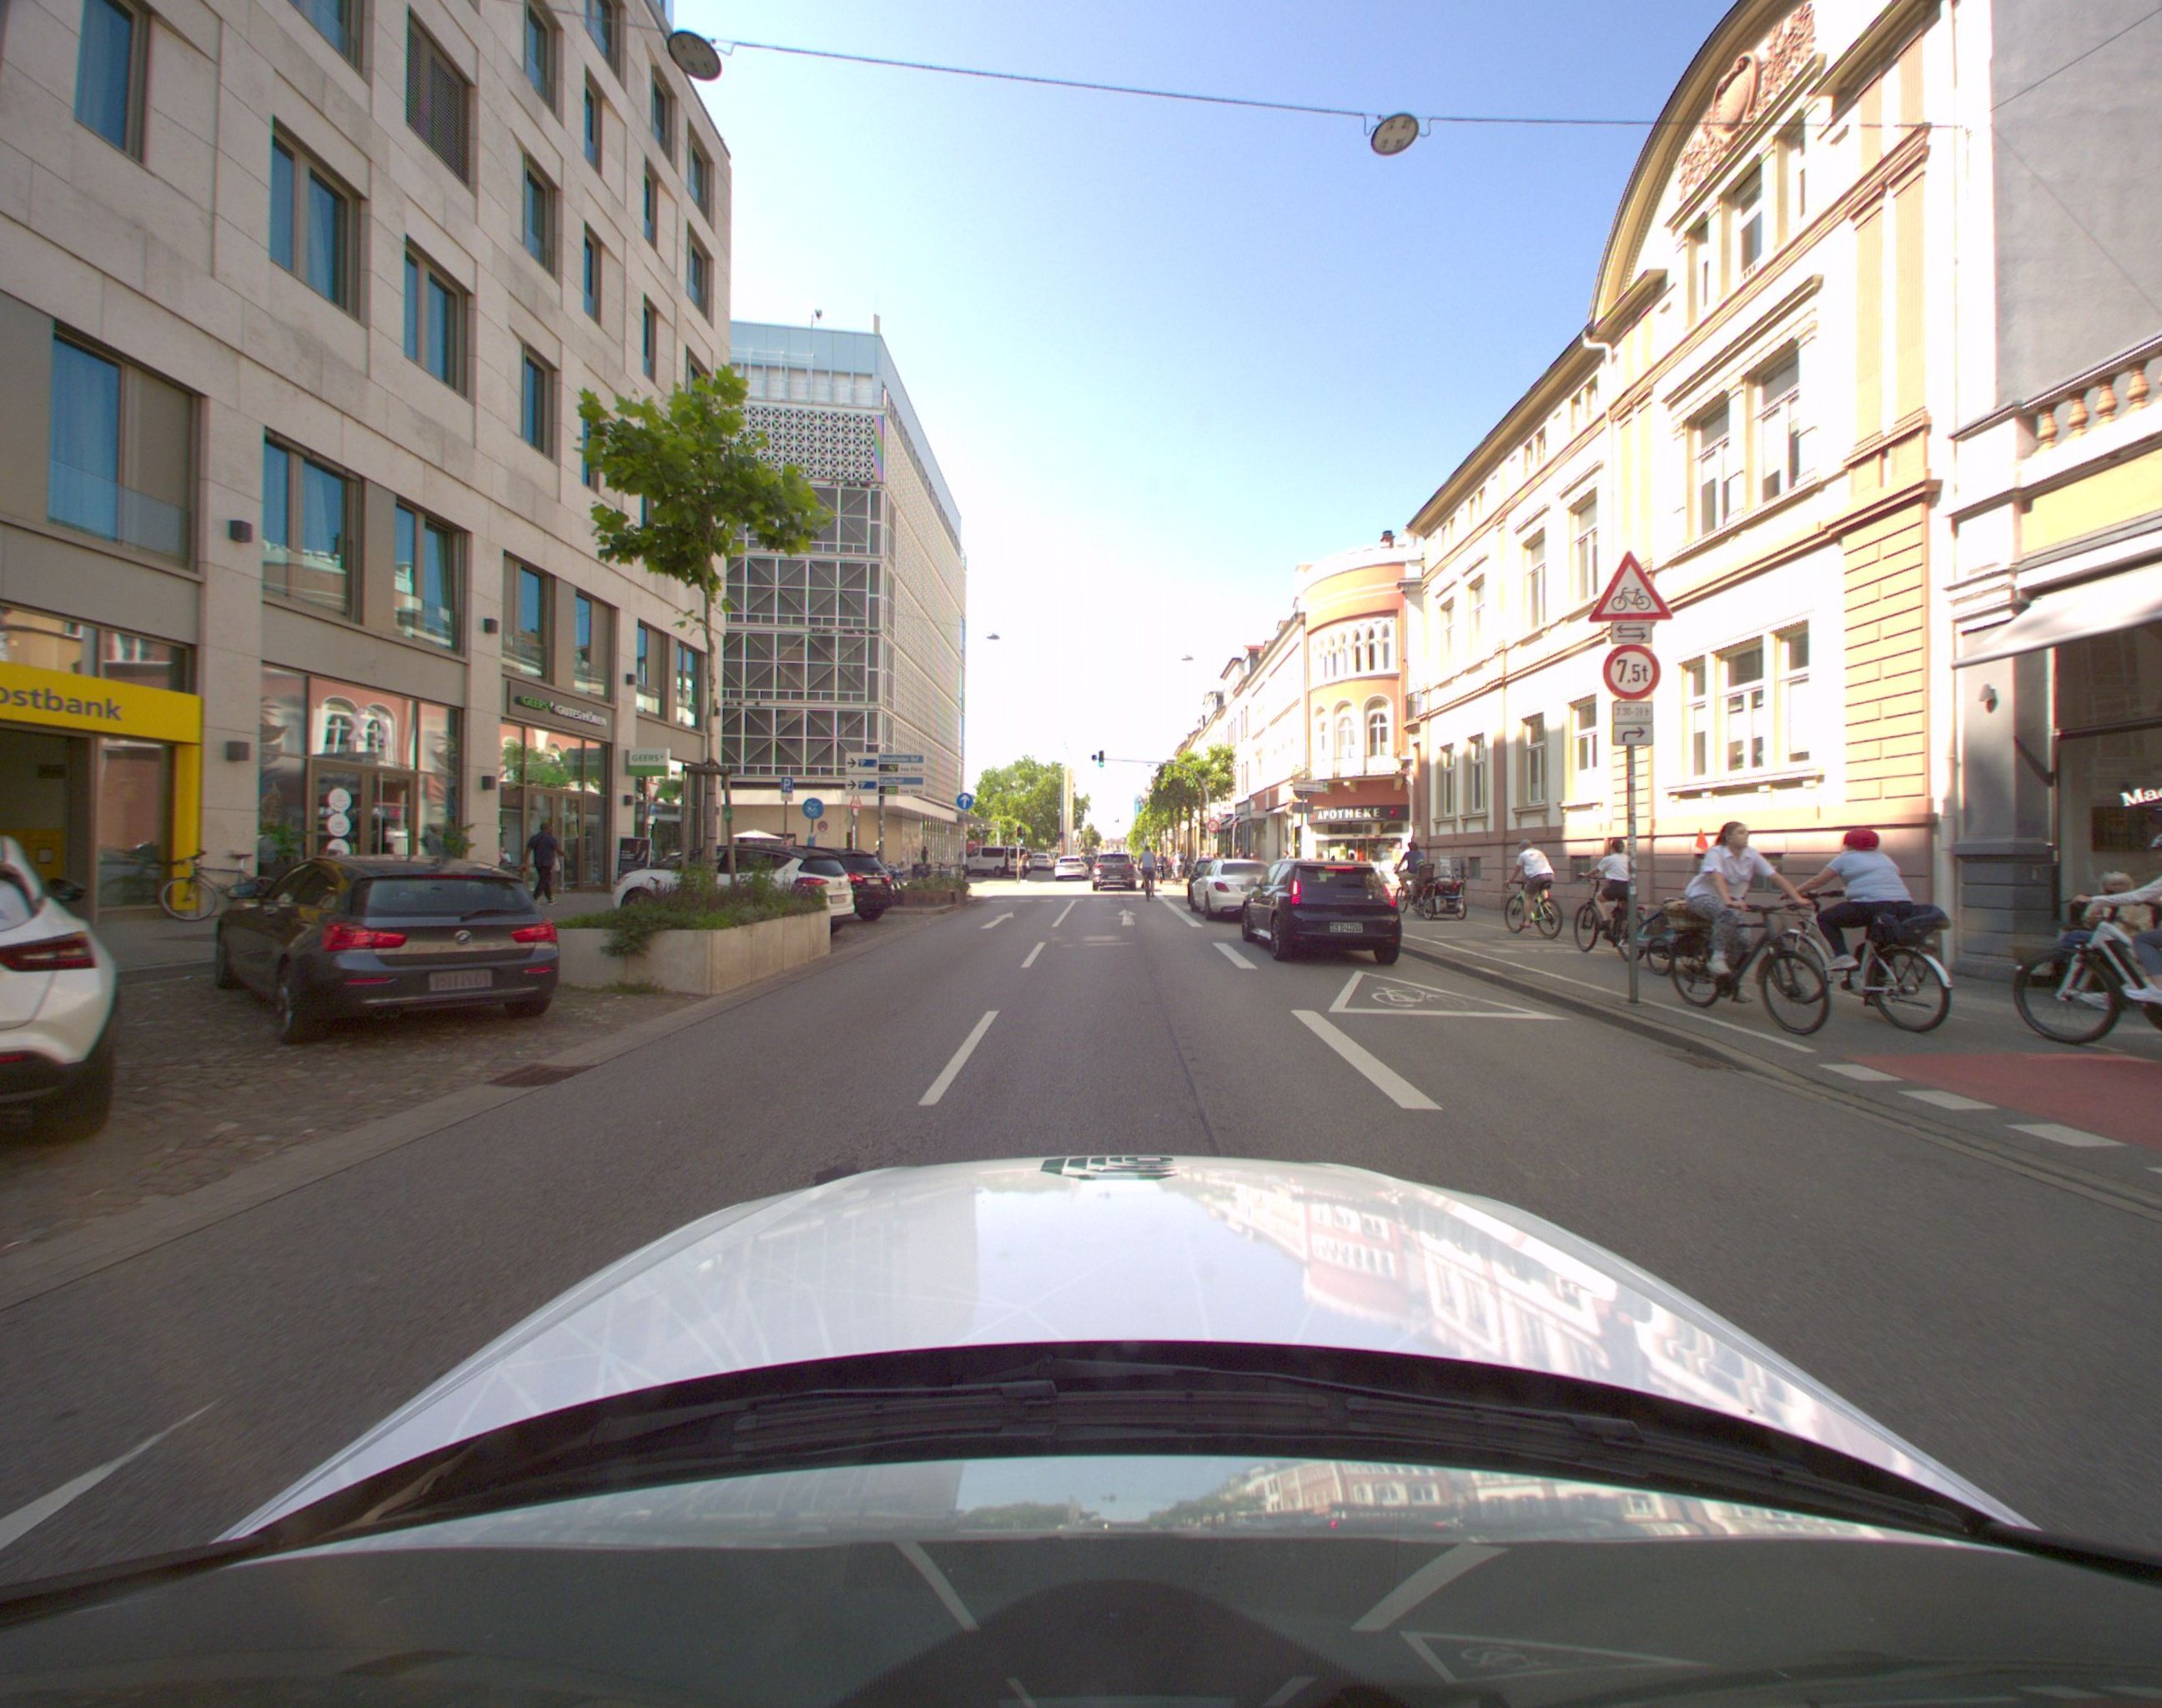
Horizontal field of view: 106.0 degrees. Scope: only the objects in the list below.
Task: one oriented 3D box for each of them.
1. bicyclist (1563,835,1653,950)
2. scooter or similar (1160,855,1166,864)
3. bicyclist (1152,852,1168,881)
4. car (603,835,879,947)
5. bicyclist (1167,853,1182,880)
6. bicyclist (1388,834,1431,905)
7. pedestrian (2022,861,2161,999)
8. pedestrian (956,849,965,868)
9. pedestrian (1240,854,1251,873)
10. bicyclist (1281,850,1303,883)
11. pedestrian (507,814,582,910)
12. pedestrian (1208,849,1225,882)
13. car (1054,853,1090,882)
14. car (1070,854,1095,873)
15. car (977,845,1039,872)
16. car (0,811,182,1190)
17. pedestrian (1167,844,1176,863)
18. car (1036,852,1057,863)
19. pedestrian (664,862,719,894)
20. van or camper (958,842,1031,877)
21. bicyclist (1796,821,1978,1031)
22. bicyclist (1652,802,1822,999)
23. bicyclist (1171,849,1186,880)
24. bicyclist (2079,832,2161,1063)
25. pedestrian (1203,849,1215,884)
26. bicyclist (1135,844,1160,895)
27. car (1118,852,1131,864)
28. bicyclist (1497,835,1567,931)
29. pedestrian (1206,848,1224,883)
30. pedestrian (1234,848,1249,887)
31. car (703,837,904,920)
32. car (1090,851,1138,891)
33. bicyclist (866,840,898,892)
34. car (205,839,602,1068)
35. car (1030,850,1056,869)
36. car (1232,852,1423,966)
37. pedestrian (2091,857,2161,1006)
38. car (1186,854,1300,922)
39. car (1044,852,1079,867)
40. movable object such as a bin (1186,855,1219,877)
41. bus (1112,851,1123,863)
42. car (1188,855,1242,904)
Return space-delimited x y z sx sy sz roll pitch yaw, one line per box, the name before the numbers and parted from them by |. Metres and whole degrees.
bicyclist | 7.571 0.525 11.735 0.743 1.573 0.845 -2 2 2
scooter or similar | 10.797 0.761 107.287 0.422 1.178 1.224 1 0 -18
bicyclist | 4.030 0.629 41.774 0.696 1.440 0.790 2 -1 -1
car | -6.202 0.617 15.124 4.132 1.636 2.108 4 0 10
bicyclist | 4.791 0.641 41.691 0.598 1.358 0.720 2 -1 -2
bicyclist | 7.942 0.366 19.727 0.728 1.673 0.775 -1 -1 3
pedestrian | 10.379 0.739 8.218 1.025 1.316 0.625 -1 0 1
pedestrian | -9.828 0.357 66.557 0.677 1.559 0.640 0 0 -3
pedestrian | 11.485 0.658 56.993 0.679 1.333 0.532 0 0 -1
bicyclist | 9.251 0.553 35.735 0.855 1.411 0.501 -1 0 3
pedestrian | -11.107 0.165 16.883 0.835 1.879 0.845 4 -1 2
pedestrian | 7.051 0.593 42.360 0.785 1.690 0.641 0 0 -1
car | -0.493 0.764 47.426 1.838 1.560 4.003 -1 0 3
car | 0.129 0.762 65.070 1.839 1.449 4.001 -1 0 2
car | -5.418 0.330 60.001 4.389 1.909 2.022 1 1 39
car | -6.832 0.598 4.551 3.987 1.593 1.830 5 0 35
pedestrian | 8.421 -0.065 76.047 0.637 1.689 0.843 3 0 0
car | -6.179 0.605 144.970 1.843 1.955 4.787 0 -1 23
pedestrian | -11.804 0.720 24.700 1.245 0.925 0.841 0 0 0
van or camper | -5.536 0.312 51.716 4.602 2.013 2.012 2 1 41
bicyclist | 7.094 0.602 7.216 0.680 1.717 0.845 -3 -1 2
bicyclist | 6.084 0.409 7.619 0.743 1.703 1.036 -1 -1 2
bicyclist | 4.671 0.495 39.067 0.628 1.481 1.199 0 0 2
bicyclist | 7.883 0.657 5.790 0.512 1.636 0.845 -1 -1 2
pedestrian | 6.535 0.641 41.605 0.451 1.795 0.608 1 0 0
bicyclist | 2.165 0.492 26.674 0.771 1.635 0.852 0 0 2
car | 6.404 0.562 119.914 1.838 1.668 4.002 2 0 2
bicyclist | 8.148 0.502 14.767 0.569 1.661 1.158 -2 1 -1
pedestrian | 7.067 0.611 43.052 0.785 1.795 0.641 1 0 -1
pedestrian | 7.895 0.667 40.054 0.634 1.843 0.617 2 -1 14
car | -6.306 0.518 18.539 3.985 1.603 1.969 2 -1 25
car | 1.334 0.664 34.054 1.840 1.559 3.999 -1 0 0
bicyclist | -7.688 0.454 31.498 0.837 1.960 1.019 0 -1 8
car | -6.524 0.700 7.693 4.264 1.449 1.798 3 0 35
car | -3.298 0.479 71.451 1.792 1.523 4.742 1 0 2
car | 3.793 0.788 13.366 1.879 1.491 4.291 2 -1 1
pedestrian | 10.313 0.694 7.542 1.082 1.316 0.625 -3 0 1
car | 3.891 0.753 20.407 1.945 1.425 4.887 2 0 1
car | -2.350 0.615 98.310 1.873 1.541 4.892 -3 1 29
movable object such as a bin | 7.215 0.715 48.473 1.836 1.189 0.656 2 0 17
bus | 10.610 0.922 238.204 2.983 3.594 11.748 0 -1 2
car | 4.478 0.815 26.897 1.618 1.478 3.742 1 -1 11
